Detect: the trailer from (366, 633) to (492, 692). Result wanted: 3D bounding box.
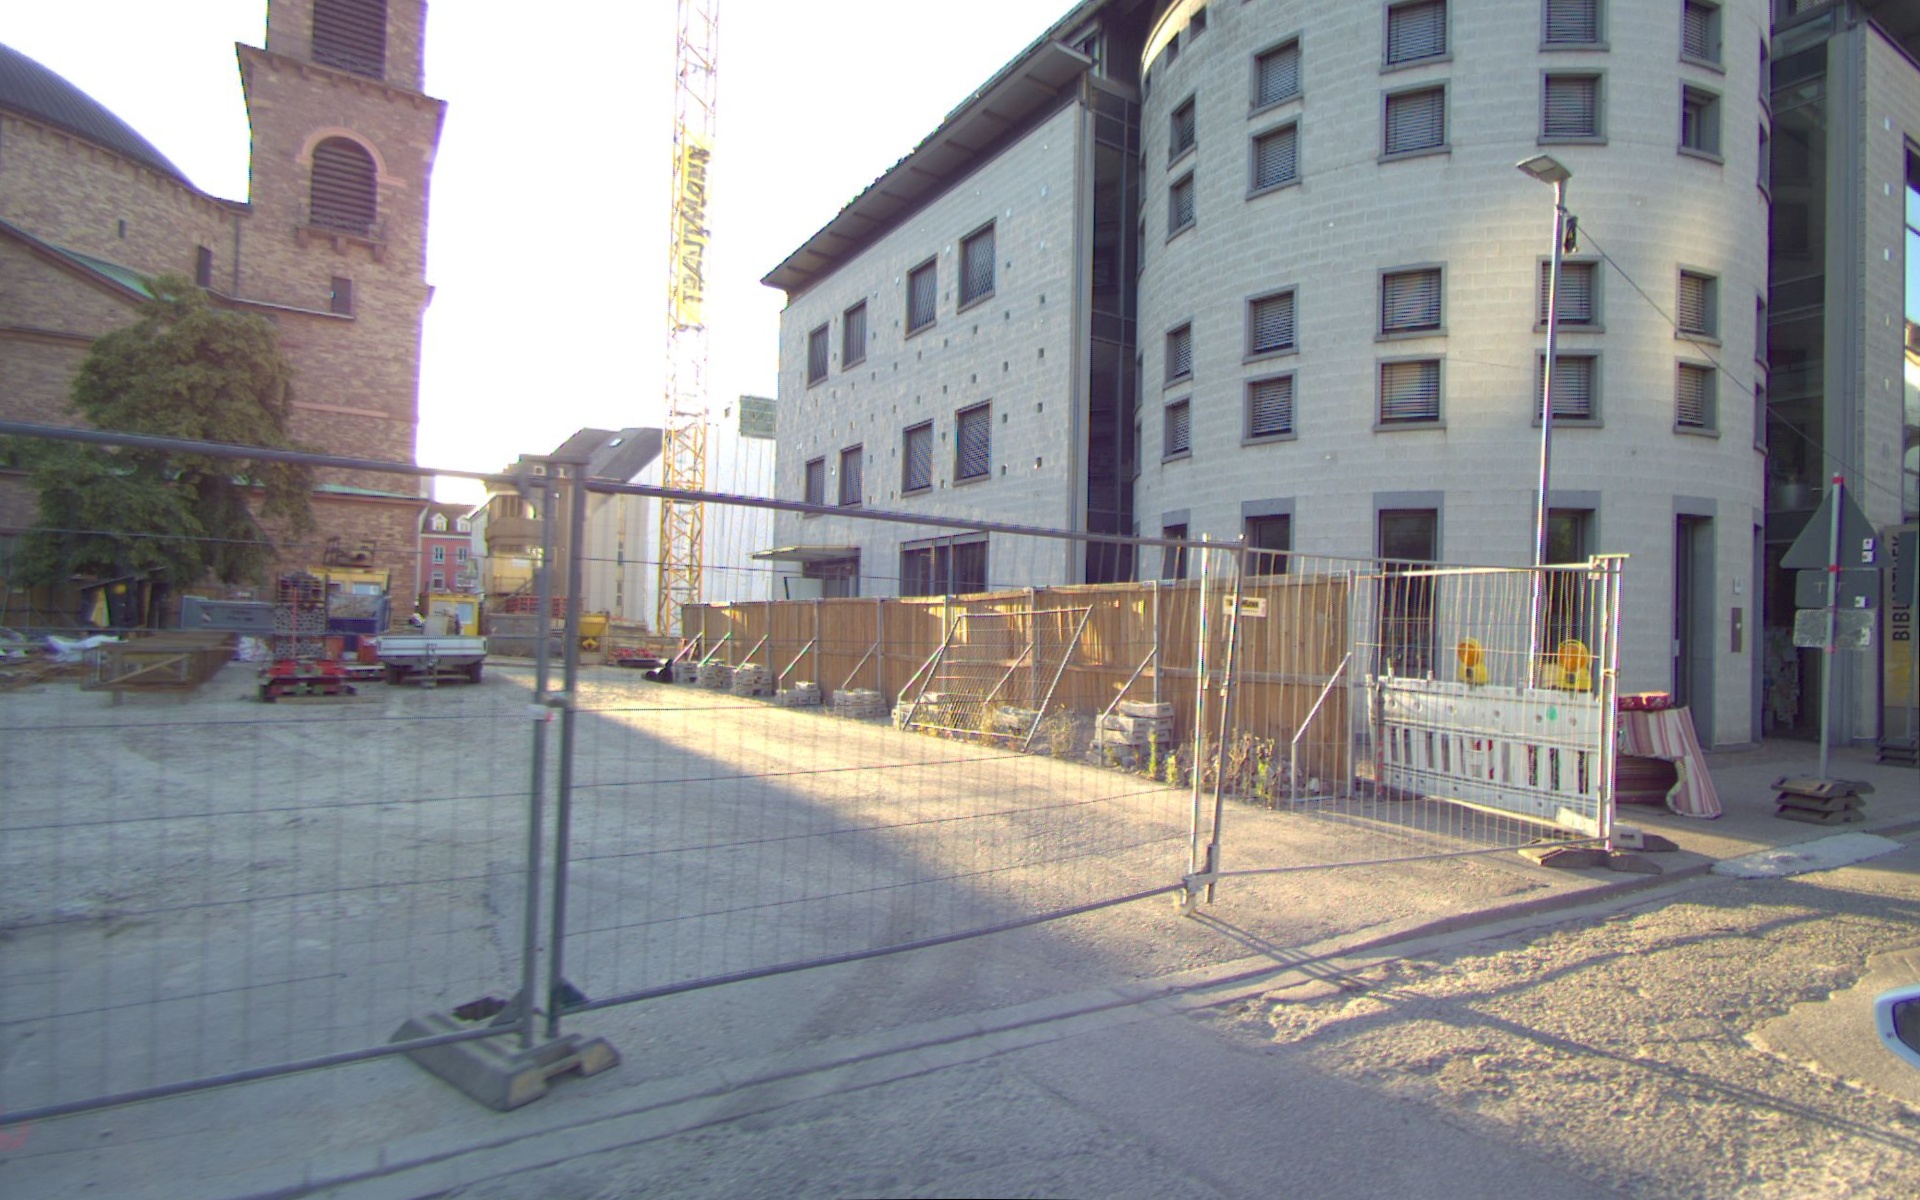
[{"bbox_3d":[-10.445,1.187,20.056,1.973,1.004,4.341,2,-2,-25],"label":"trailer"}]
